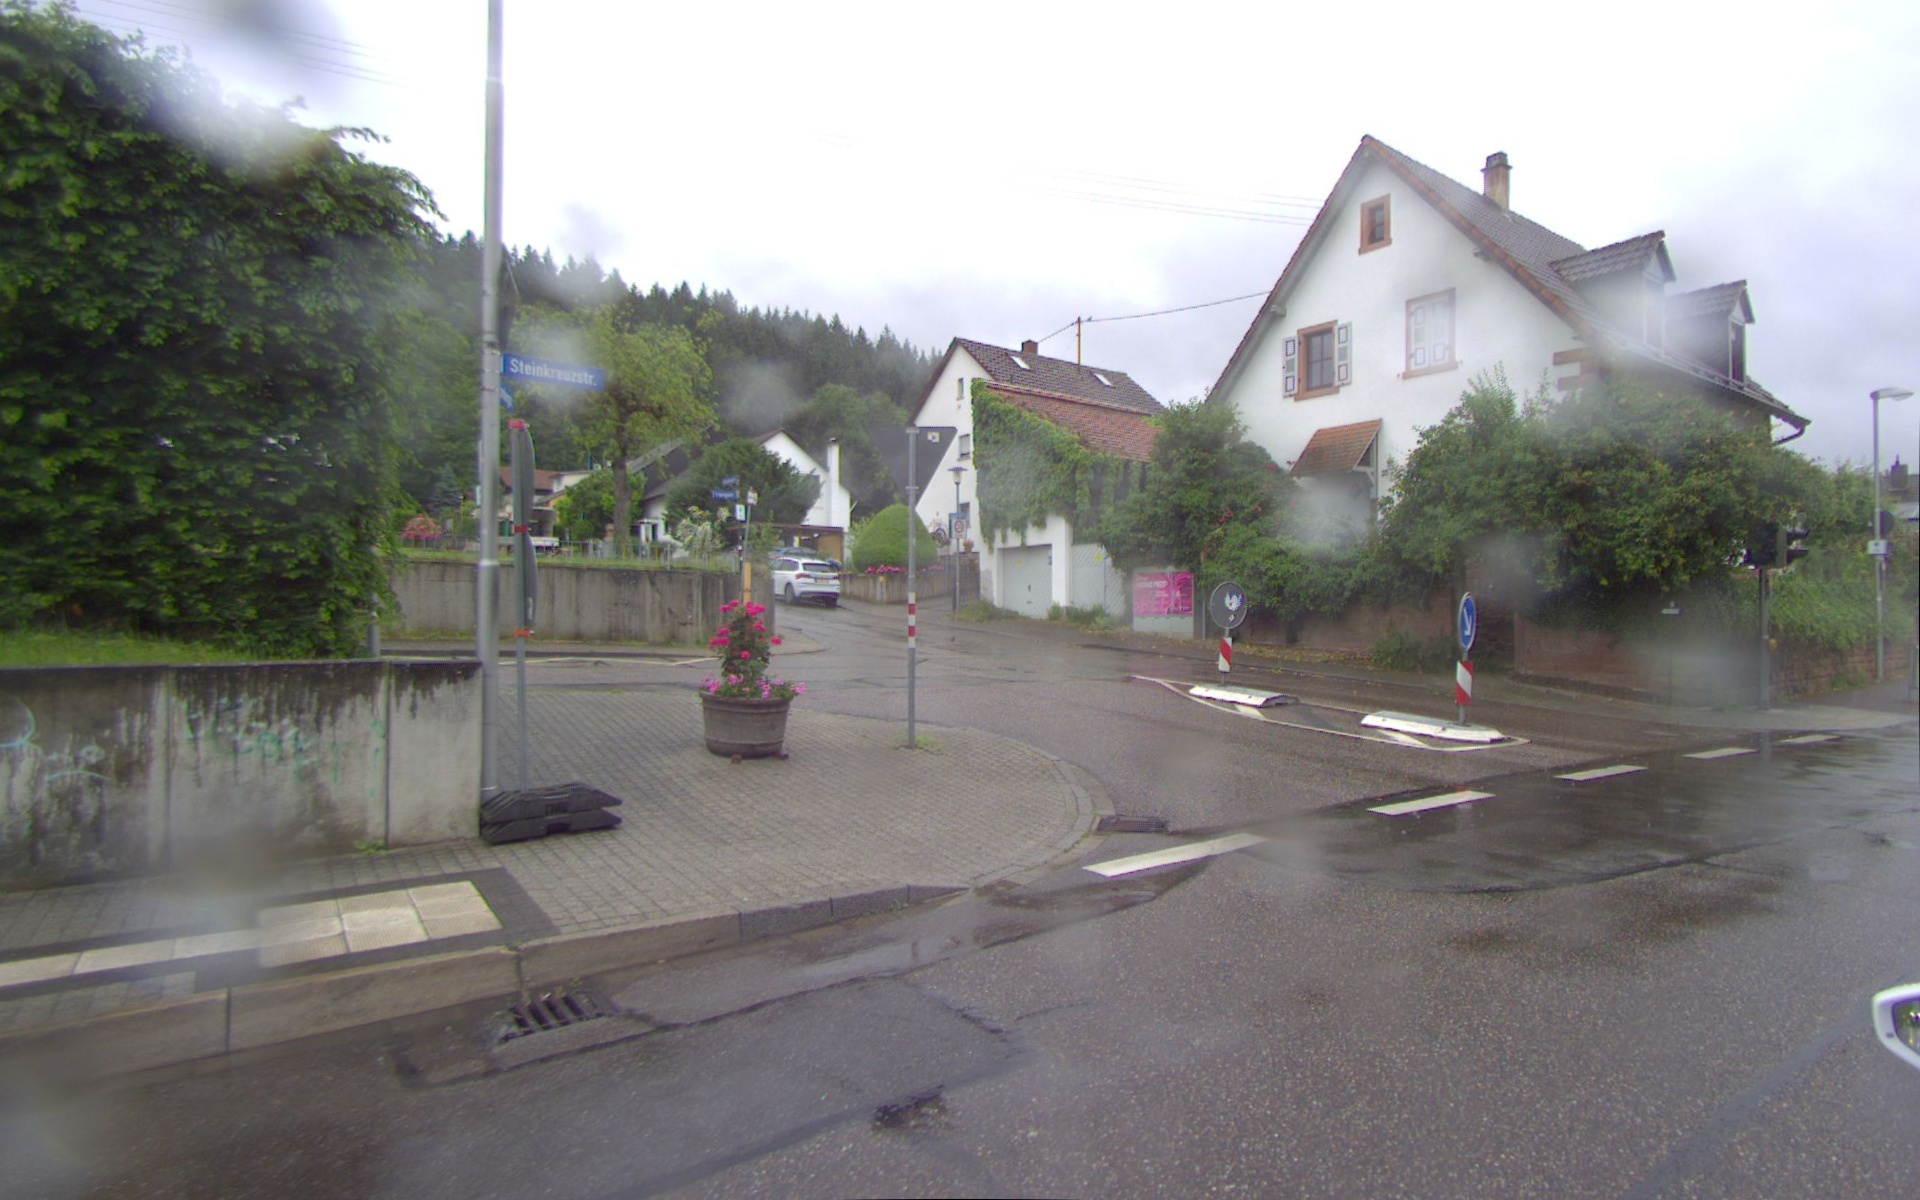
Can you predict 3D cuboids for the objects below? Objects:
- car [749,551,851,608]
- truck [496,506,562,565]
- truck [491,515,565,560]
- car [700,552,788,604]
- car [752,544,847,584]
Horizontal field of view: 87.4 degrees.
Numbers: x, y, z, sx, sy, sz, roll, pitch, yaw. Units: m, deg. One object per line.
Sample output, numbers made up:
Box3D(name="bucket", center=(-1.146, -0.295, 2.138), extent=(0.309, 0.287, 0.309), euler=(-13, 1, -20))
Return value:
Box3D(name="car", center=(-5.545, -0.729, 34.491), extent=(1.882, 1.534, 3.852), euler=(2, 6, -35))
Box3D(name="truck", center=(-26.994, -3.994, 62.780), extent=(2.429, 3.397, 6.591), euler=(1, 2, -35))
Box3D(name="truck", center=(-22.779, -3.252, 52.833), extent=(2.278, 2.155, 6.017), euler=(1, 2, -36))
Box3D(name="car", center=(-8.284, -0.868, 38.294), extent=(1.882, 1.534, 3.852), euler=(2, 6, -35))
Box3D(name="car", center=(-7.404, -1.670, 46.547), extent=(3.855, 1.534, 1.880), euler=(2, 6, -37))
